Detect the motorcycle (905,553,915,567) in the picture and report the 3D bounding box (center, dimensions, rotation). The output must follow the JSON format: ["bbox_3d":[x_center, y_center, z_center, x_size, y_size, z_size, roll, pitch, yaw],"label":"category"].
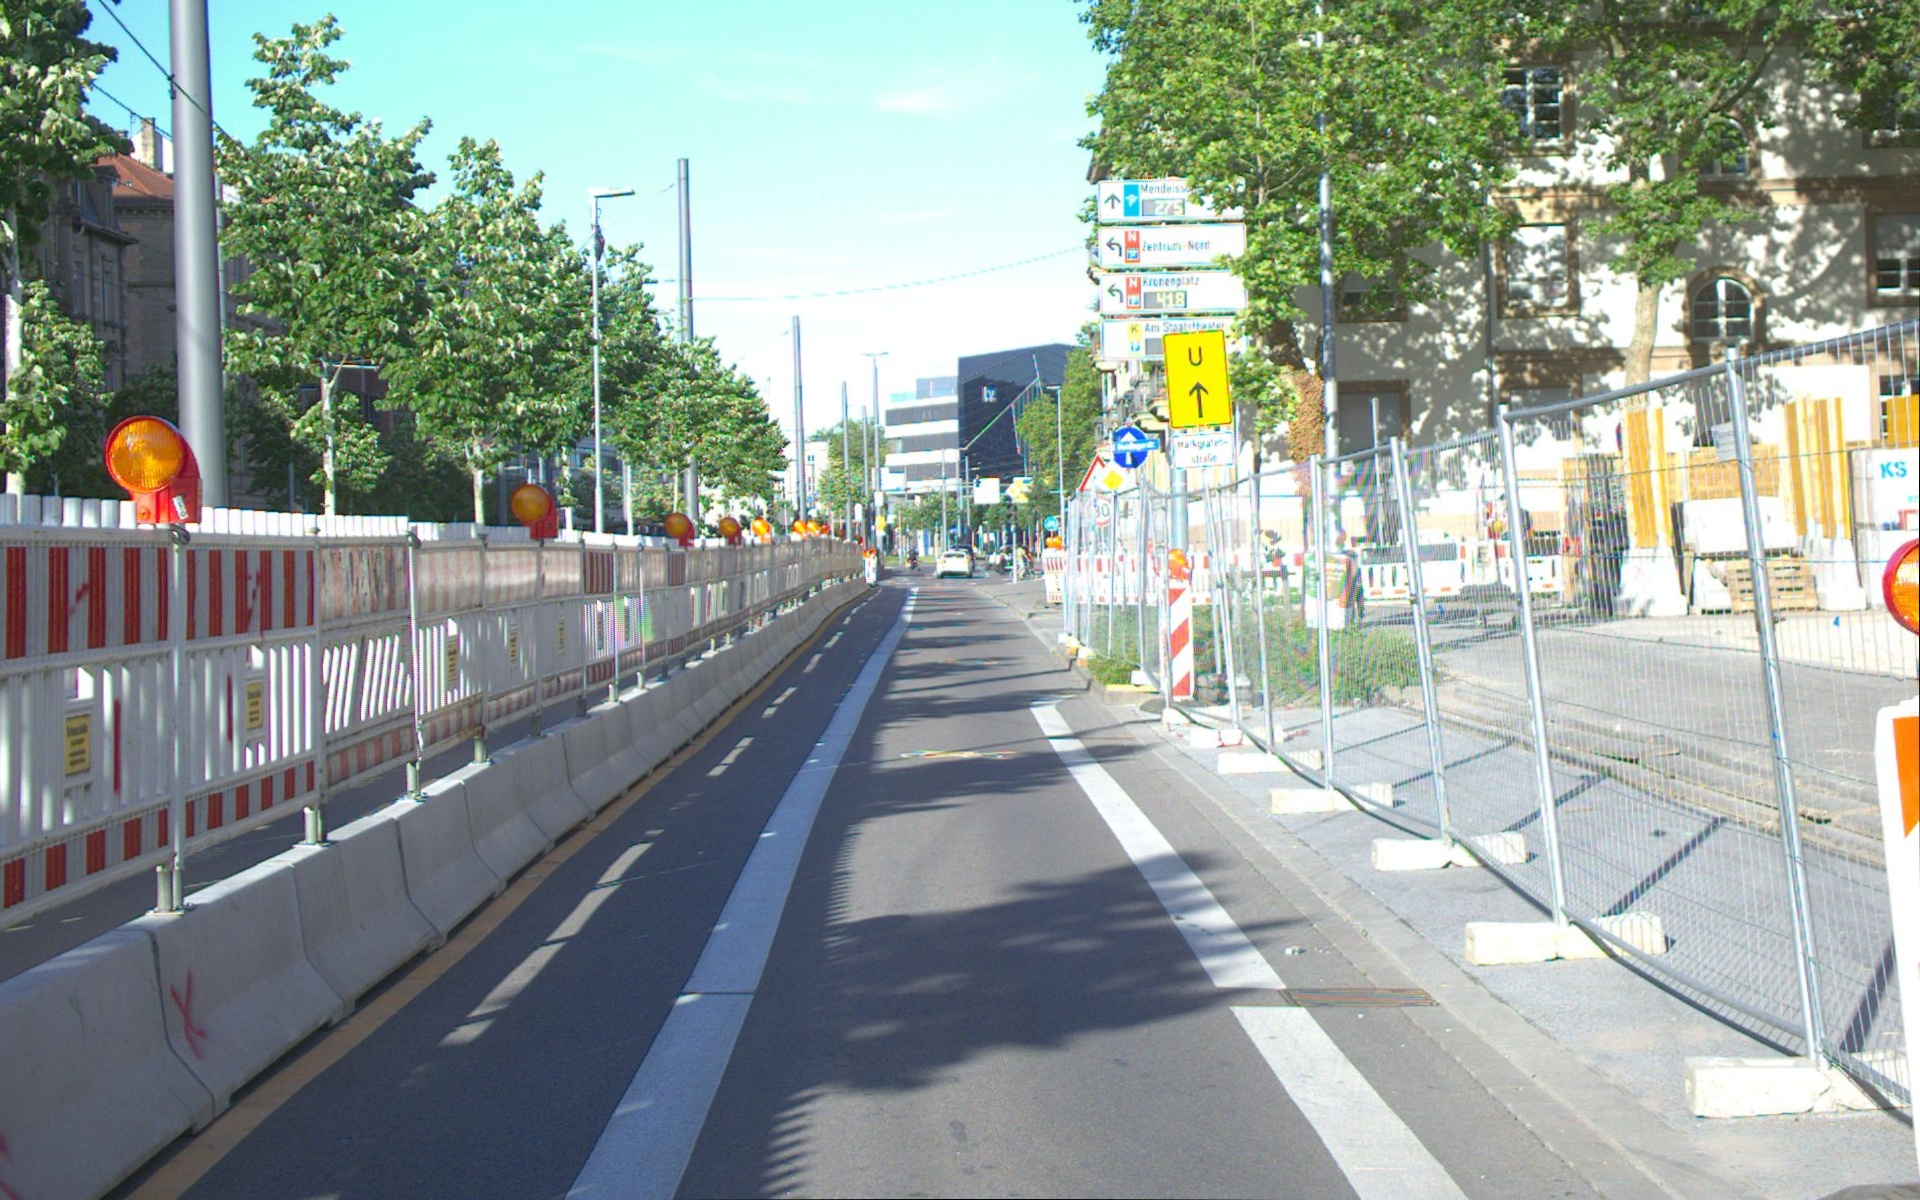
[{"bbox_3d":[-3.274,-2.627,225.090,0.631,0.893,1.621,-1,1,0],"label":"motorcycle"}]

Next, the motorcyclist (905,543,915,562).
[{"bbox_3d":[-3.294,-3.110,225.123,0.631,1.258,0.606,-1,1,0],"label":"motorcyclist"}]

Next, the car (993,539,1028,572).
[{"bbox_3d":[2.938,-2.603,200.760,1.883,1.836,3.668,-1,1,0],"label":"car"}]

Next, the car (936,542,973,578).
[{"bbox_3d":[-0.302,-2.165,184.811,1.883,1.836,3.668,-1,1,0],"label":"car"}]

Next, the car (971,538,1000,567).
[{"bbox_3d":[1.695,-3.190,230.092,1.883,1.836,3.668,-1,1,0],"label":"car"}]

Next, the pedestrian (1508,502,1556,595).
[{"bbox_3d":[10.866,-0.980,65.351,0.775,1.740,0.671,-1,1,1],"label":"pedestrian"}]
